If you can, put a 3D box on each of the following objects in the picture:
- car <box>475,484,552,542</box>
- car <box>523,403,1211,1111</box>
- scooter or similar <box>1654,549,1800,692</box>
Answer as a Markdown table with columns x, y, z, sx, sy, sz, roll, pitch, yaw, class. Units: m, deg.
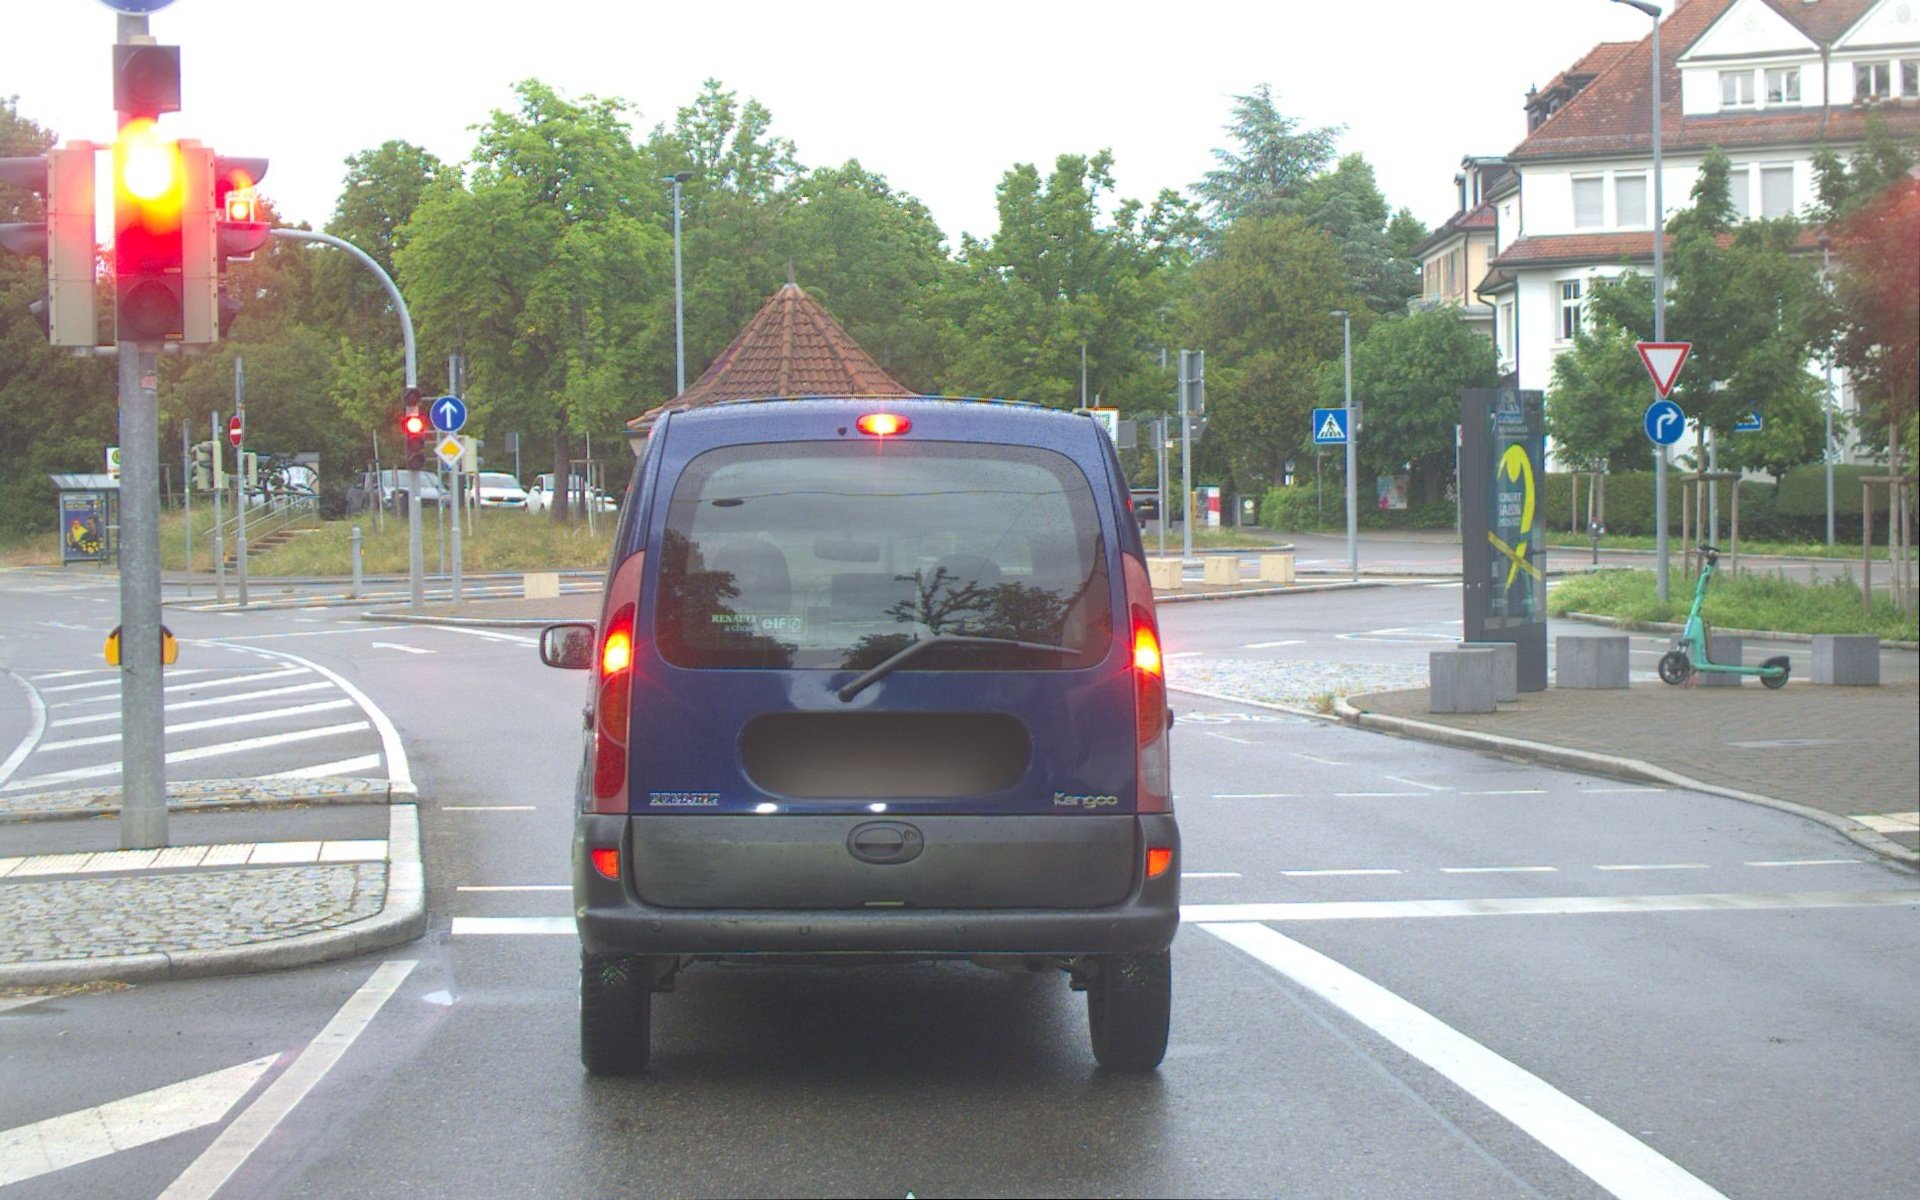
| x | y | z | sx | sy | sz | roll | pitch | yaw | class |
| --- | --- | --- | --- | --- | --- | --- | --- | --- | --- |
| -14.473 | -2.817 | 111.627 | 1.993 | 1.806 | 4.000 | 0 | 0 | -1 | car |
| -0.324 | 0.351 | 10.674 | 1.731 | 1.780 | 4.001 | 0 | 1 | -3 | car |
| 6.604 | 0.179 | 29.615 | 1.149 | 1.214 | 0.406 | 0 | 0 | -1 | scooter or similar |
